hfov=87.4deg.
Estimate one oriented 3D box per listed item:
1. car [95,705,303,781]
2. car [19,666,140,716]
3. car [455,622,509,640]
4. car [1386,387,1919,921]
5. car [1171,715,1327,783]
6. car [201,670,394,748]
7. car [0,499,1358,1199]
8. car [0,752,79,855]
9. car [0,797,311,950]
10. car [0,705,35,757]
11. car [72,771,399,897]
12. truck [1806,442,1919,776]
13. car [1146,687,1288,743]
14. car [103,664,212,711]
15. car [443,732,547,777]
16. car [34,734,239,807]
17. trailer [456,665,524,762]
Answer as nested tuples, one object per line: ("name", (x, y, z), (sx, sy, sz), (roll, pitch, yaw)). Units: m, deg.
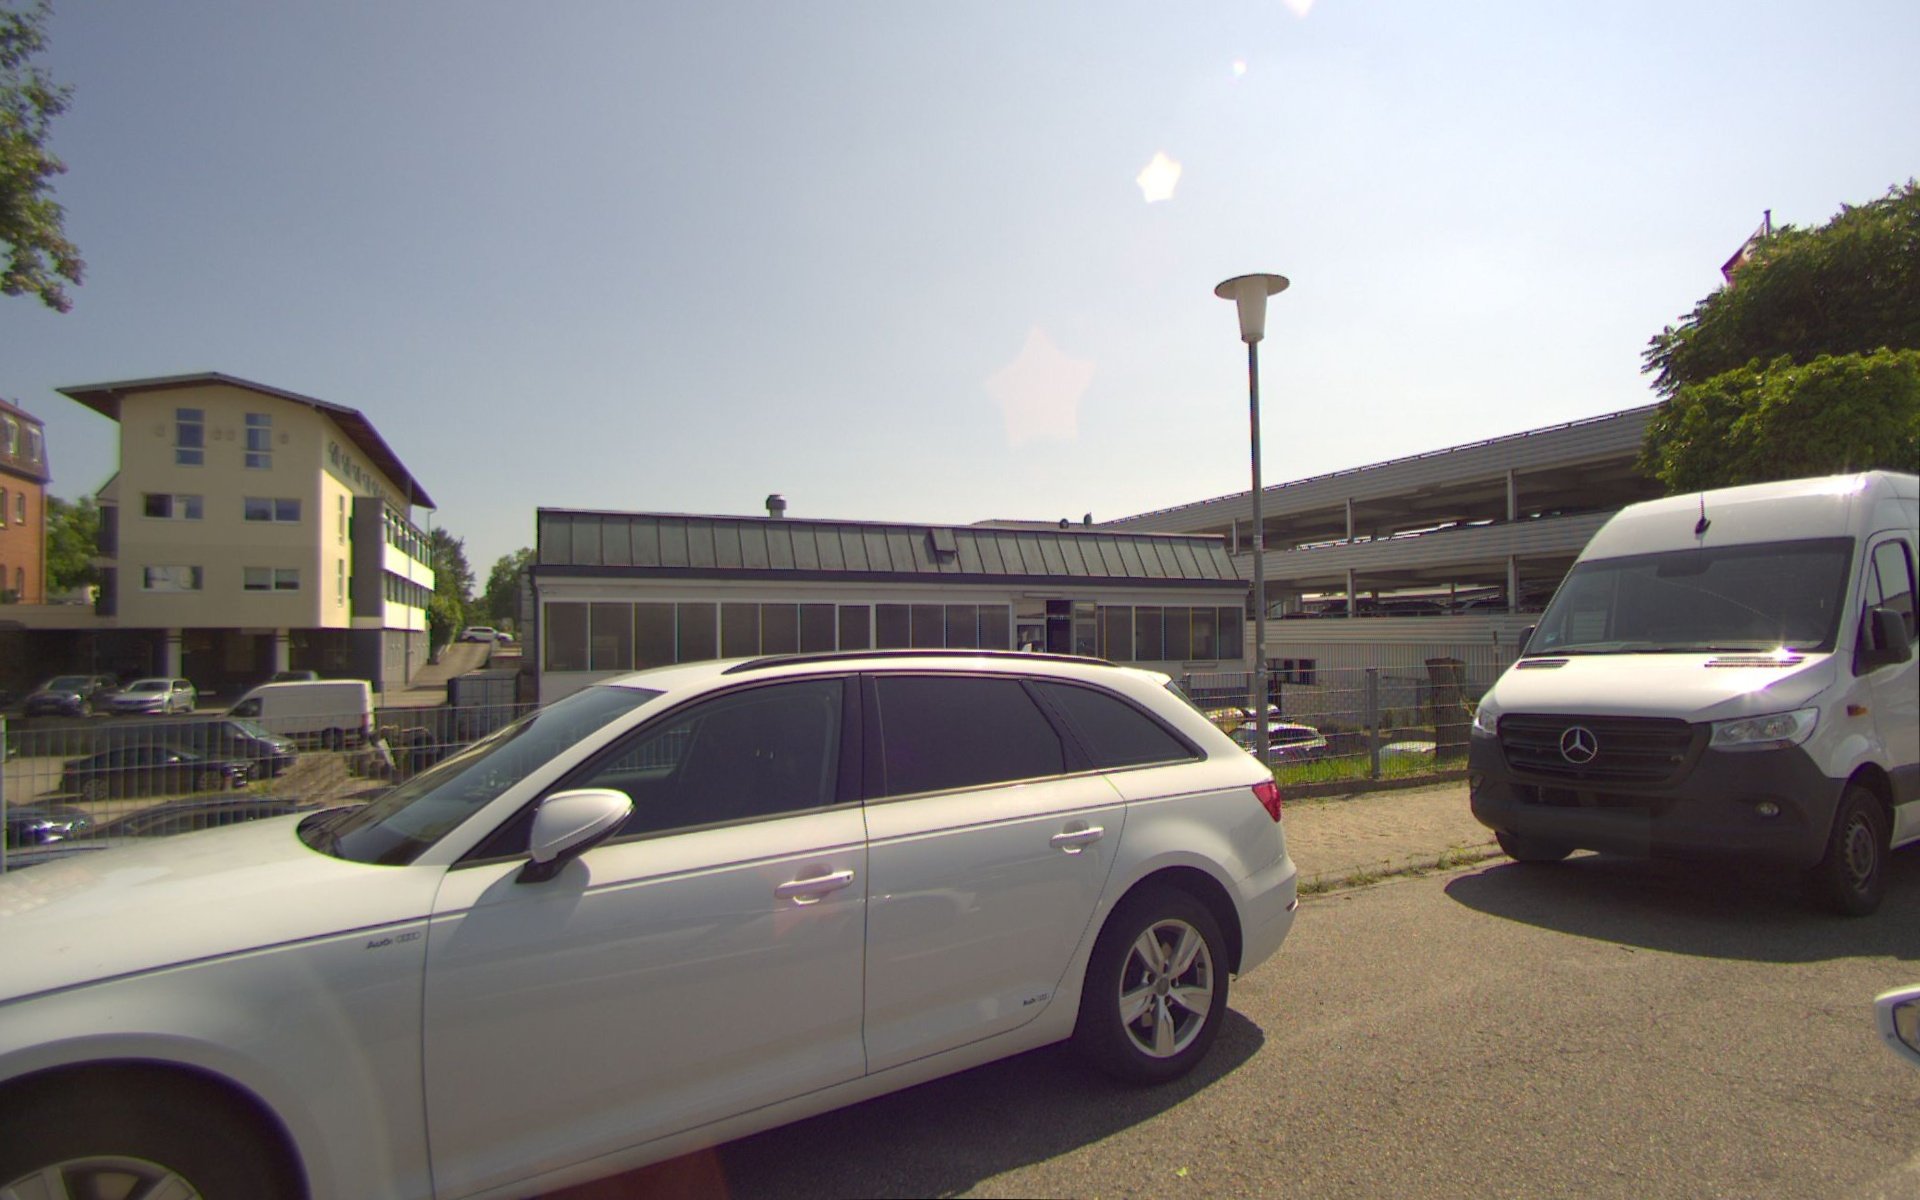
("car", (-23.976, 4.475, 31.914), (4.854, 2.047, 1.990), (0, -4, -23))
("car", (-35.180, 3.602, 40.302), (2.084, 1.699, 4.581), (2, -2, -20))
("car", (-45.146, 2.939, 94.968), (4.543, 1.700, 2.101), (1, 0, -27))
("car", (6.405, 0.421, 7.603), (6.838, 2.629, 2.159), (2, -4, -30))
("car", (8.169, 4.151, 28.378), (3.949, 1.461, 1.986), (1, 0, -27))
("car", (-25.907, 4.238, 39.636), (5.847, 2.913, 2.432), (2, -4, -22))
("car", (-0.770, 0.709, 3.355), (4.354, 1.563, 1.704), (2, -4, -33))
("car", (-19.460, 3.836, 18.795), (3.945, 1.705, 1.989), (2, -4, -24))
("car", (-11.393, 3.662, 13.691), (3.941, 1.461, 1.800), (1, -2, -22))
("car", (-35.382, 4.603, 34.760), (4.535, 1.699, 1.814), (0, -4, -23))
("car", (-11.568, 3.716, 16.387), (3.941, 1.461, 1.800), (1, -2, -22))
("truck", (13.021, 0.195, 11.762), (7.050, 3.410, 2.671), (2, -3, -32))
("car", (7.972, 3.508, 31.147), (3.949, 1.461, 1.987), (1, -2, -27))
("car", (-32.916, 3.550, 41.379), (2.084, 1.699, 4.581), (2, -3, -20))
("car", (-18.014, 5.974, 39.093), (3.546, 1.537, 1.783), (2, -4, -22))
("car", (-22.789, 4.682, 28.018), (3.945, 1.705, 1.989), (2, -4, -24))
("trailer", (-22.403, 5.250, 48.143), (2.717, 4.047, 6.845), (1, -2, -23))
